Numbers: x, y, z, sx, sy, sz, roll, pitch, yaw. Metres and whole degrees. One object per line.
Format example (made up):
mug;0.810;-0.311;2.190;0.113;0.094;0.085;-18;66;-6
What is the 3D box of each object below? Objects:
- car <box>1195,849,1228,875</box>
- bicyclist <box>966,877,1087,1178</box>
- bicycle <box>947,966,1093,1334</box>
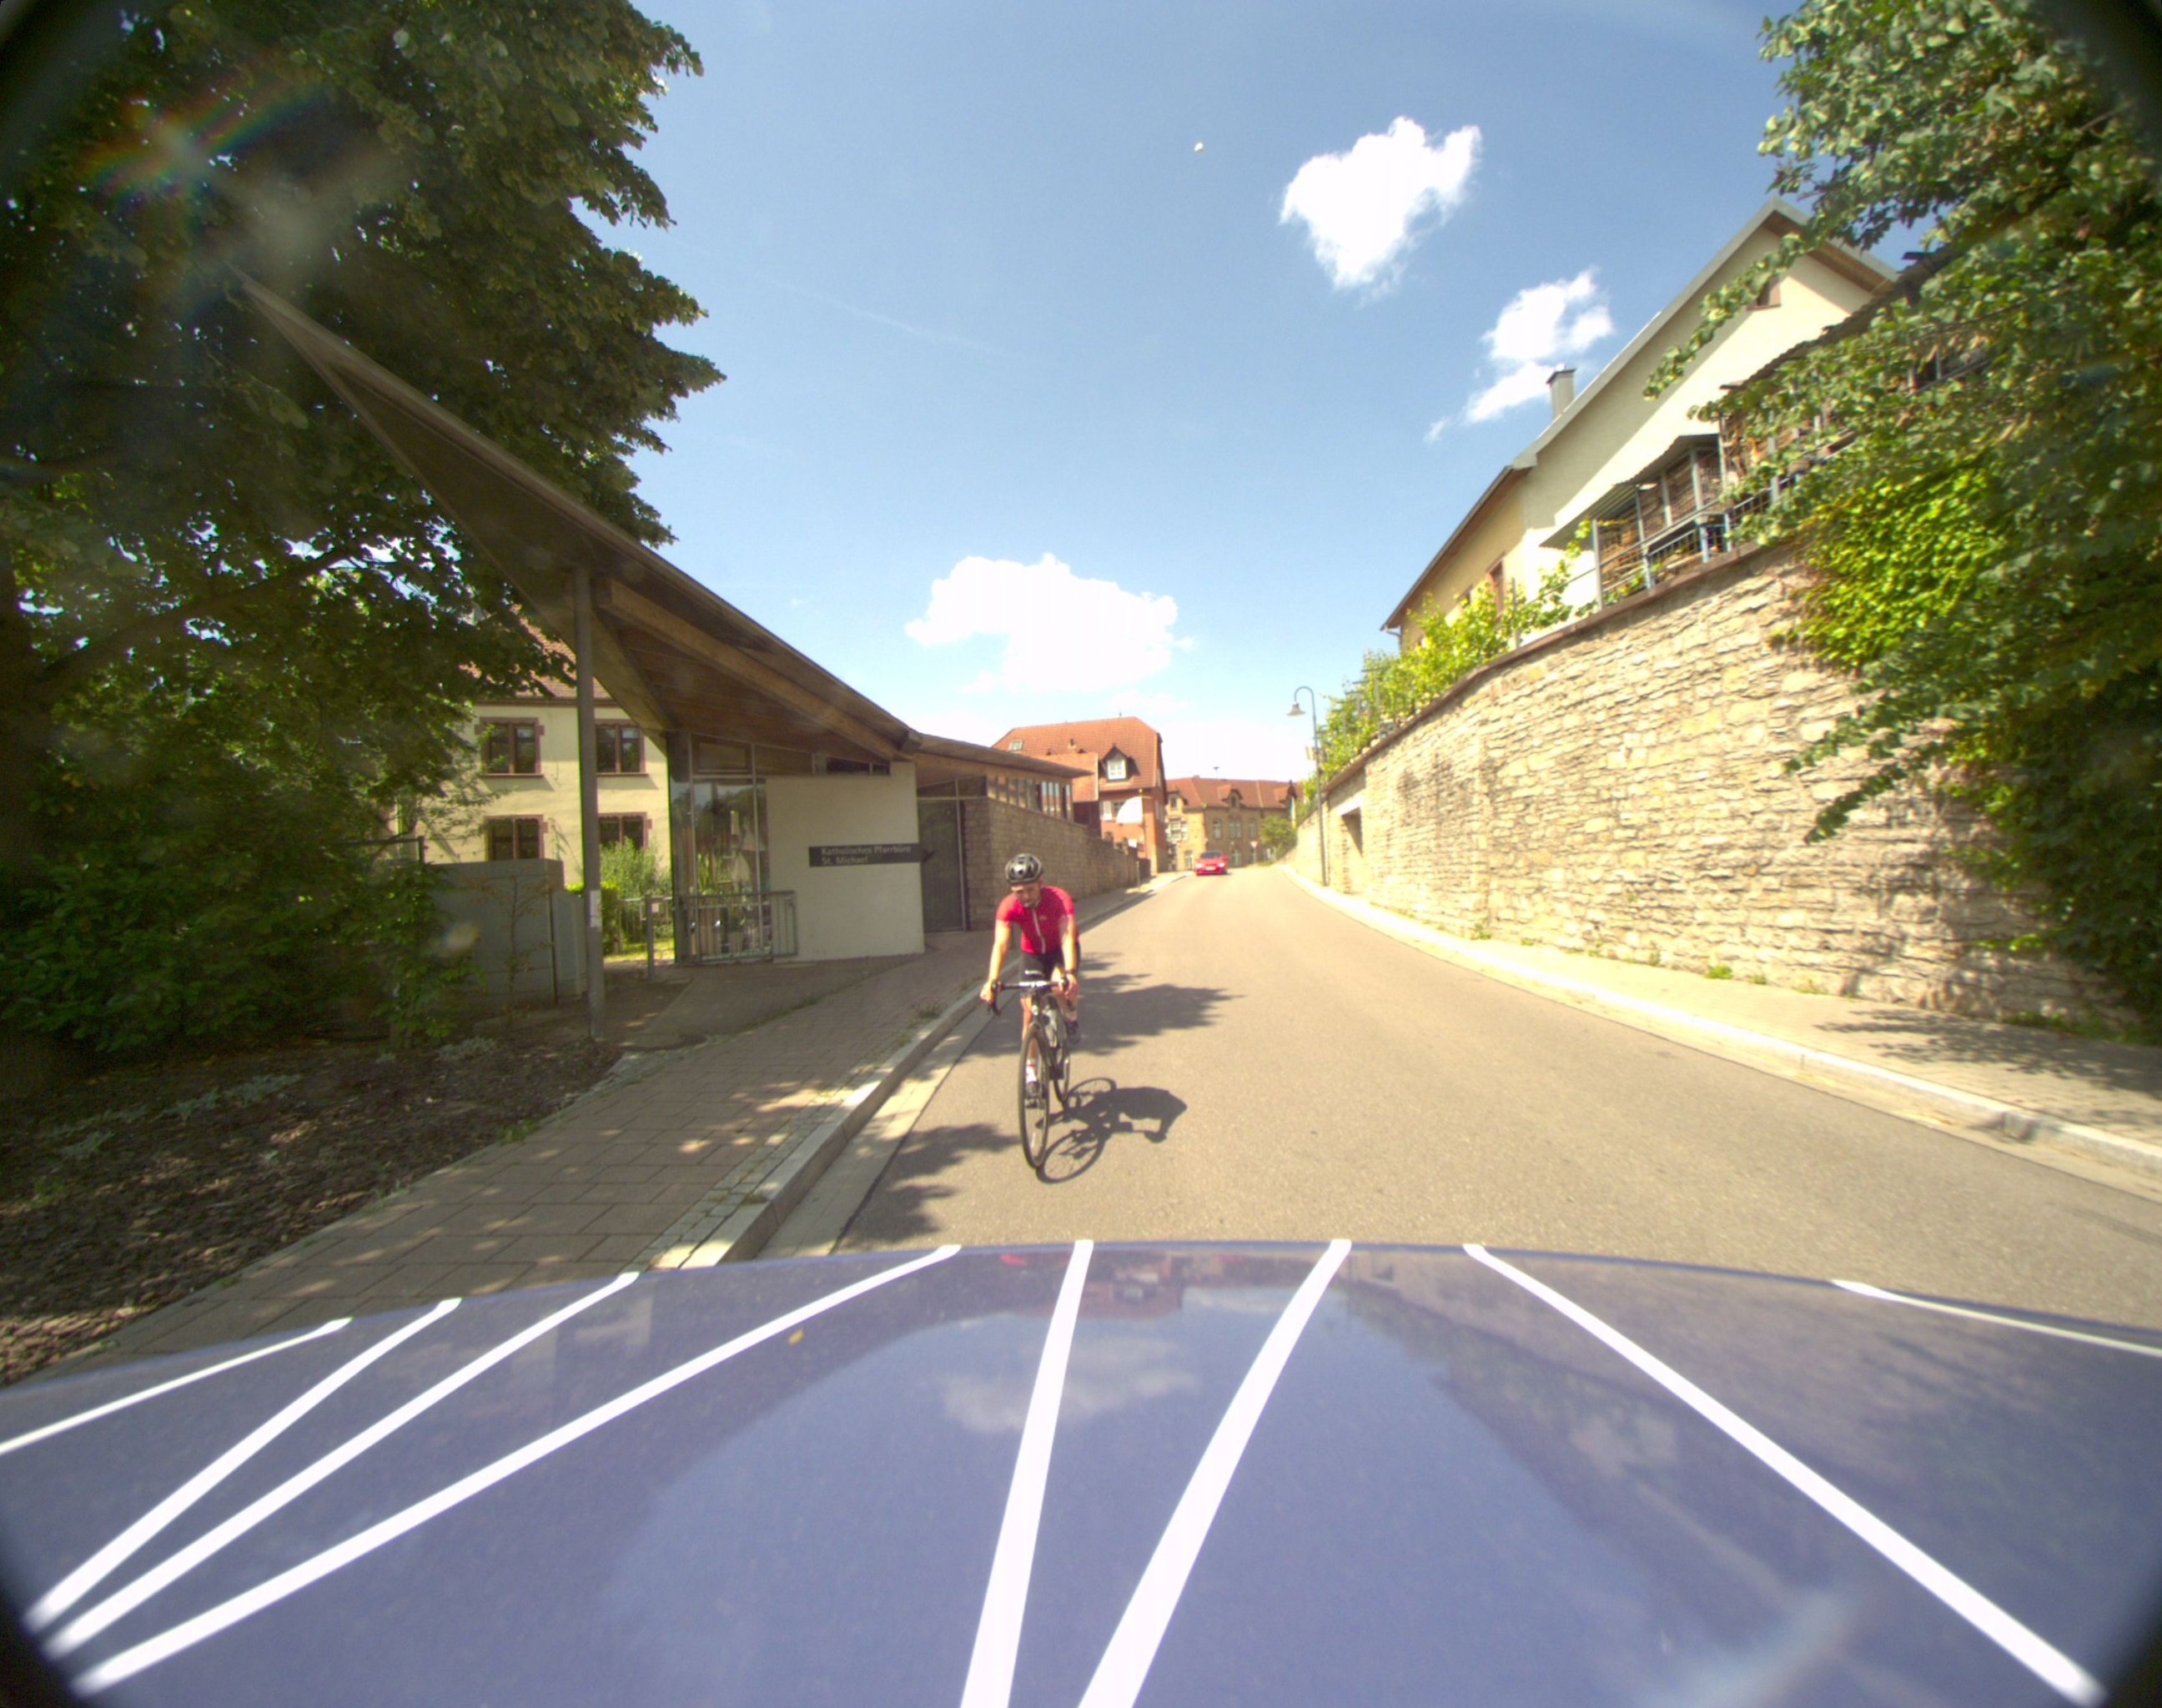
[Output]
car;7.630;0.456;44.253;1.668;1.344;3.497;-2;1;12
bicyclist;-0.260;0.852;4.032;0.532;1.396;0.755;-2;2;0
bicycle;-0.237;1.318;4.007;0.531;1.070;2.053;-2;2;0
